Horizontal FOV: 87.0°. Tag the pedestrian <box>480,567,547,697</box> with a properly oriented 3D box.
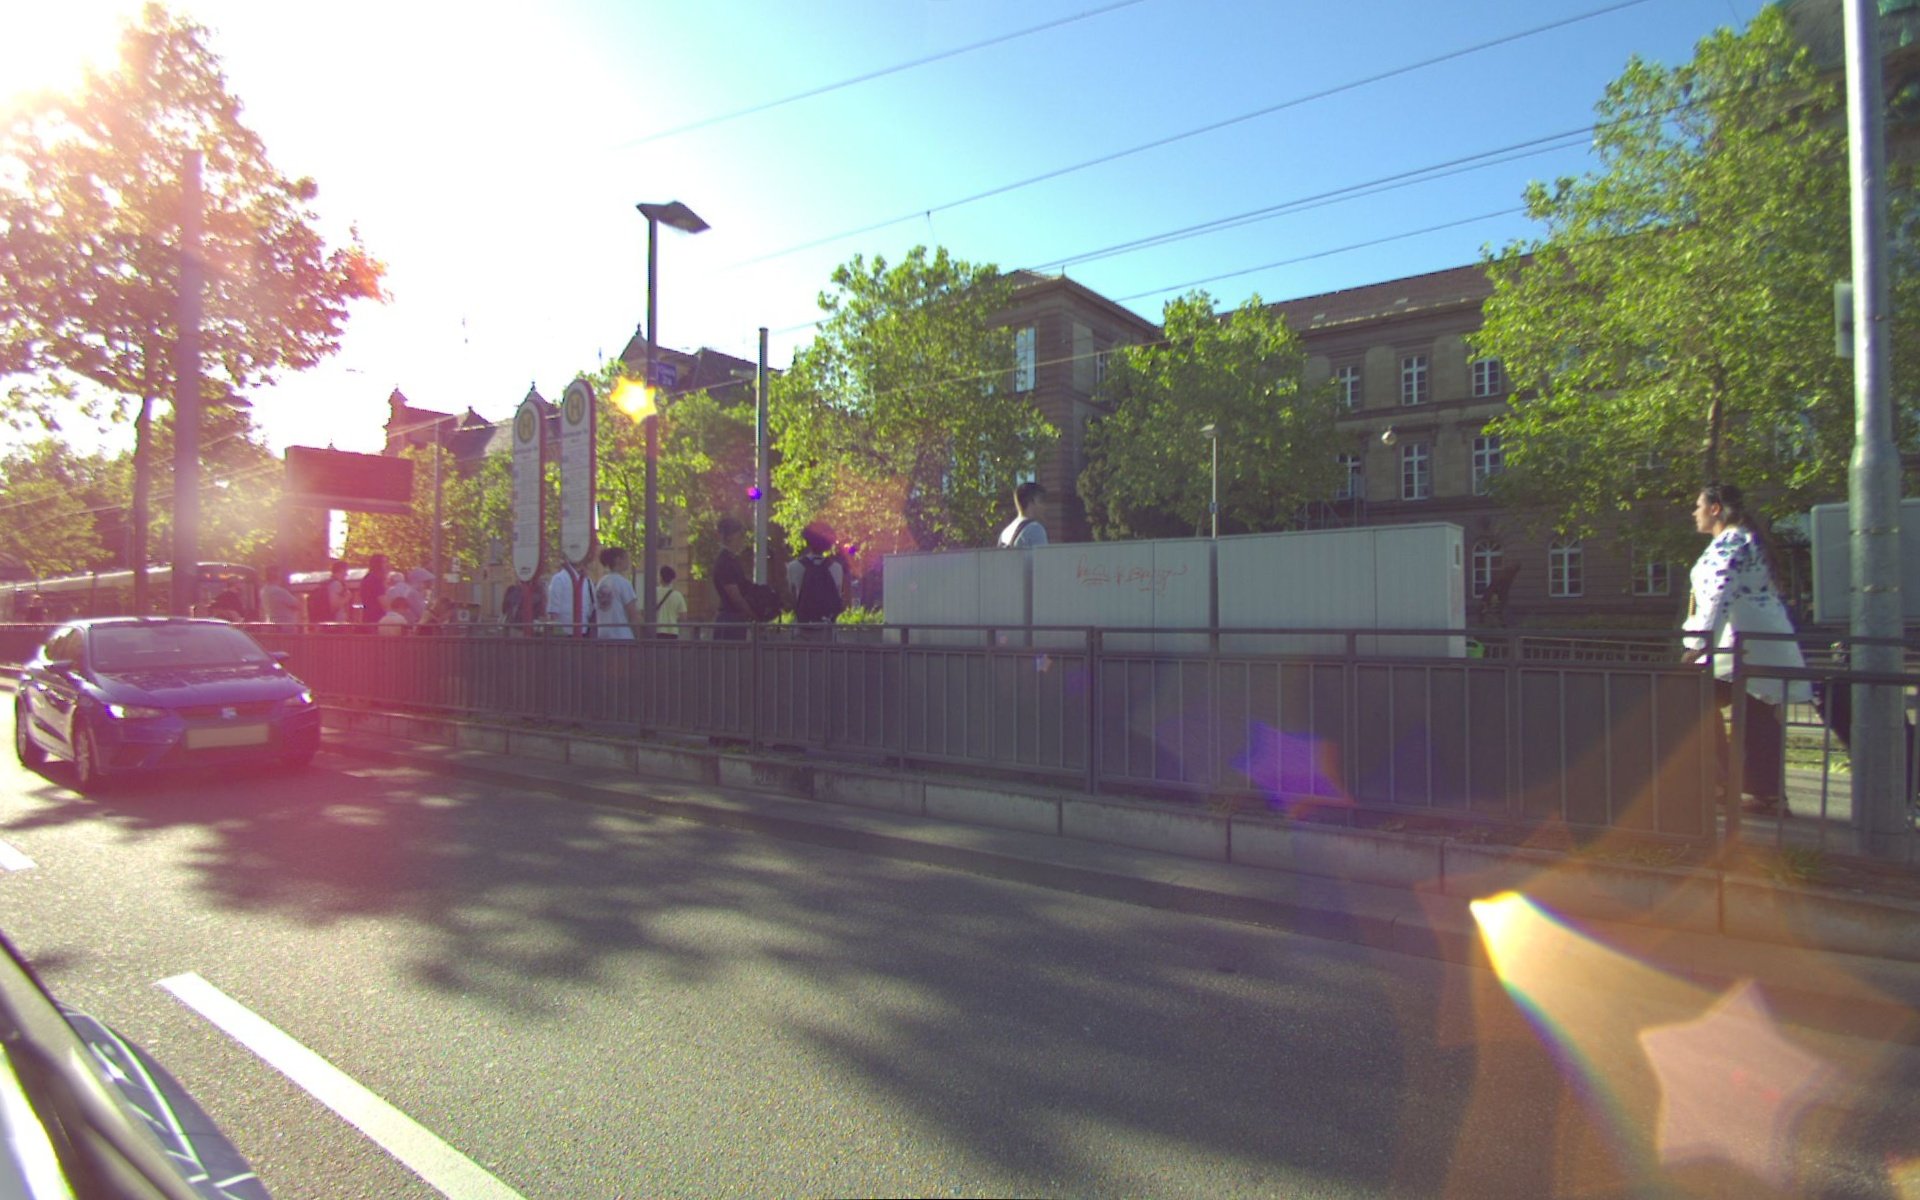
[{"bbox_3d":[-5.452,0.391,12.372,0.530,1.530,0.540,-1,-2,37],"label":"pedestrian"}]

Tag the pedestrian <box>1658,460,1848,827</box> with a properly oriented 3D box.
[{"bbox_3d":[3.825,0.191,4.935,0.639,1.631,0.634,2,0,34],"label":"pedestrian"}]

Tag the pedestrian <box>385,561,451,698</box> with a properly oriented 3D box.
[{"bbox_3d":[-6.979,0.378,13.033,0.620,1.721,0.510,-1,-2,37],"label":"pedestrian"}]

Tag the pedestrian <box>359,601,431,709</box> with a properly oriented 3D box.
[{"bbox_3d":[-6.488,0.619,11.620,0.530,1.201,0.540,-1,-2,37],"label":"pedestrian"}]

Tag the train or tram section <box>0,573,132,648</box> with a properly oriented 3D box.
[{"bbox_3d":[-48.212,0.660,53.545,18.248,3.460,2.844,-1,-1,38],"label":"train or tram section"}]

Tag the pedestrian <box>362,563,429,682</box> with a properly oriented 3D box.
[{"bbox_3d":[-8.145,0.327,14.611,0.621,1.662,0.613,-1,-2,33],"label":"pedestrian"}]

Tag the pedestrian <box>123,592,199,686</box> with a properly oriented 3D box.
[{"bbox_3d":[-13.409,0.654,16.990,0.750,1.521,0.769,-1,-3,34],"label":"pedestrian"}]

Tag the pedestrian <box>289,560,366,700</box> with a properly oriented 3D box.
[{"bbox_3d":[-8.035,0.381,12.864,0.570,1.709,0.654,-1,-2,38],"label":"pedestrian"}]

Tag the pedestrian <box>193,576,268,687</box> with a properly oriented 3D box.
[{"bbox_3d":[-12.004,0.514,16.657,0.721,1.766,0.769,-1,-3,34],"label":"pedestrian"}]

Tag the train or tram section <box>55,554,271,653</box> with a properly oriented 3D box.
[{"bbox_3d":[-33.821,0.297,42.337,18.187,3.460,2.822,-1,-1,38],"label":"train or tram section"}]

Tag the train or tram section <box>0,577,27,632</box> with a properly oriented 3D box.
[{"bbox_3d":[-50.873,0.350,51.496,15.050,2.551,2.538,-1,-2,38],"label":"train or tram section"}]

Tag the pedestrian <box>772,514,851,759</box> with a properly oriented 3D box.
[{"bbox_3d":[-1.088,0.268,7.514,0.541,1.747,0.540,0,-2,-5],"label":"pedestrian"}]

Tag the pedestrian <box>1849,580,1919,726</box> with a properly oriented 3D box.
[{"bbox_3d":[11.121,0.618,12.006,0.629,1.677,0.704,-1,-2,23],"label":"pedestrian"}]

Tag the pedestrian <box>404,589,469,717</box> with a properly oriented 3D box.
[{"bbox_3d":[-5.585,0.558,10.798,0.506,1.326,0.412,-1,-2,36],"label":"pedestrian"}]

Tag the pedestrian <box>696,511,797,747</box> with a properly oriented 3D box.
[{"bbox_3d":[-1.660,0.223,7.895,0.538,1.747,0.543,-1,-2,33],"label":"pedestrian"}]

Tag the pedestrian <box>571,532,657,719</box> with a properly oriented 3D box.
[{"bbox_3d":[-3.315,0.243,9.700,0.610,1.715,0.501,-1,-2,33],"label":"pedestrian"}]

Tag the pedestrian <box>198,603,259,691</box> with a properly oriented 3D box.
[{"bbox_3d":[-10.637,0.678,14.724,0.603,1.256,0.529,-1,-3,35],"label":"pedestrian"}]

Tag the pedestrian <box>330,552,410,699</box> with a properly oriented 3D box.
[{"bbox_3d":[-7.143,0.310,12.266,0.570,1.709,0.654,-1,-2,38],"label":"pedestrian"}]

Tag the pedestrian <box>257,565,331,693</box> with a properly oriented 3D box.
[{"bbox_3d":[-8.889,0.388,13.507,0.570,1.646,0.654,-1,-2,38],"label":"pedestrian"}]

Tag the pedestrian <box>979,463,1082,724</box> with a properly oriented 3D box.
[{"bbox_3d":[0.501,-0.038,7.150,0.538,1.747,0.543,-1,-2,33],"label":"pedestrian"}]

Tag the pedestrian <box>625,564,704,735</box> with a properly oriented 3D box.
[{"bbox_3d":[-3.210,0.525,10.994,0.610,1.783,0.548,-1,-2,33],"label":"pedestrian"}]

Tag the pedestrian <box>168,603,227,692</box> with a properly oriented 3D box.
[{"bbox_3d":[-11.634,0.719,15.445,0.603,1.309,0.529,-1,-3,34],"label":"pedestrian"}]

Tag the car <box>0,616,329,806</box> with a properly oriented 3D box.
[{"bbox_3d":[-7.698,0.901,9.670,3.871,1.426,1.685,-1,0,39],"label":"car"}]

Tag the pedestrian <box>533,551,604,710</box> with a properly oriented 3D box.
[{"bbox_3d":[-4.374,0.342,11.307,0.601,1.715,0.508,2,-2,-36],"label":"pedestrian"}]
